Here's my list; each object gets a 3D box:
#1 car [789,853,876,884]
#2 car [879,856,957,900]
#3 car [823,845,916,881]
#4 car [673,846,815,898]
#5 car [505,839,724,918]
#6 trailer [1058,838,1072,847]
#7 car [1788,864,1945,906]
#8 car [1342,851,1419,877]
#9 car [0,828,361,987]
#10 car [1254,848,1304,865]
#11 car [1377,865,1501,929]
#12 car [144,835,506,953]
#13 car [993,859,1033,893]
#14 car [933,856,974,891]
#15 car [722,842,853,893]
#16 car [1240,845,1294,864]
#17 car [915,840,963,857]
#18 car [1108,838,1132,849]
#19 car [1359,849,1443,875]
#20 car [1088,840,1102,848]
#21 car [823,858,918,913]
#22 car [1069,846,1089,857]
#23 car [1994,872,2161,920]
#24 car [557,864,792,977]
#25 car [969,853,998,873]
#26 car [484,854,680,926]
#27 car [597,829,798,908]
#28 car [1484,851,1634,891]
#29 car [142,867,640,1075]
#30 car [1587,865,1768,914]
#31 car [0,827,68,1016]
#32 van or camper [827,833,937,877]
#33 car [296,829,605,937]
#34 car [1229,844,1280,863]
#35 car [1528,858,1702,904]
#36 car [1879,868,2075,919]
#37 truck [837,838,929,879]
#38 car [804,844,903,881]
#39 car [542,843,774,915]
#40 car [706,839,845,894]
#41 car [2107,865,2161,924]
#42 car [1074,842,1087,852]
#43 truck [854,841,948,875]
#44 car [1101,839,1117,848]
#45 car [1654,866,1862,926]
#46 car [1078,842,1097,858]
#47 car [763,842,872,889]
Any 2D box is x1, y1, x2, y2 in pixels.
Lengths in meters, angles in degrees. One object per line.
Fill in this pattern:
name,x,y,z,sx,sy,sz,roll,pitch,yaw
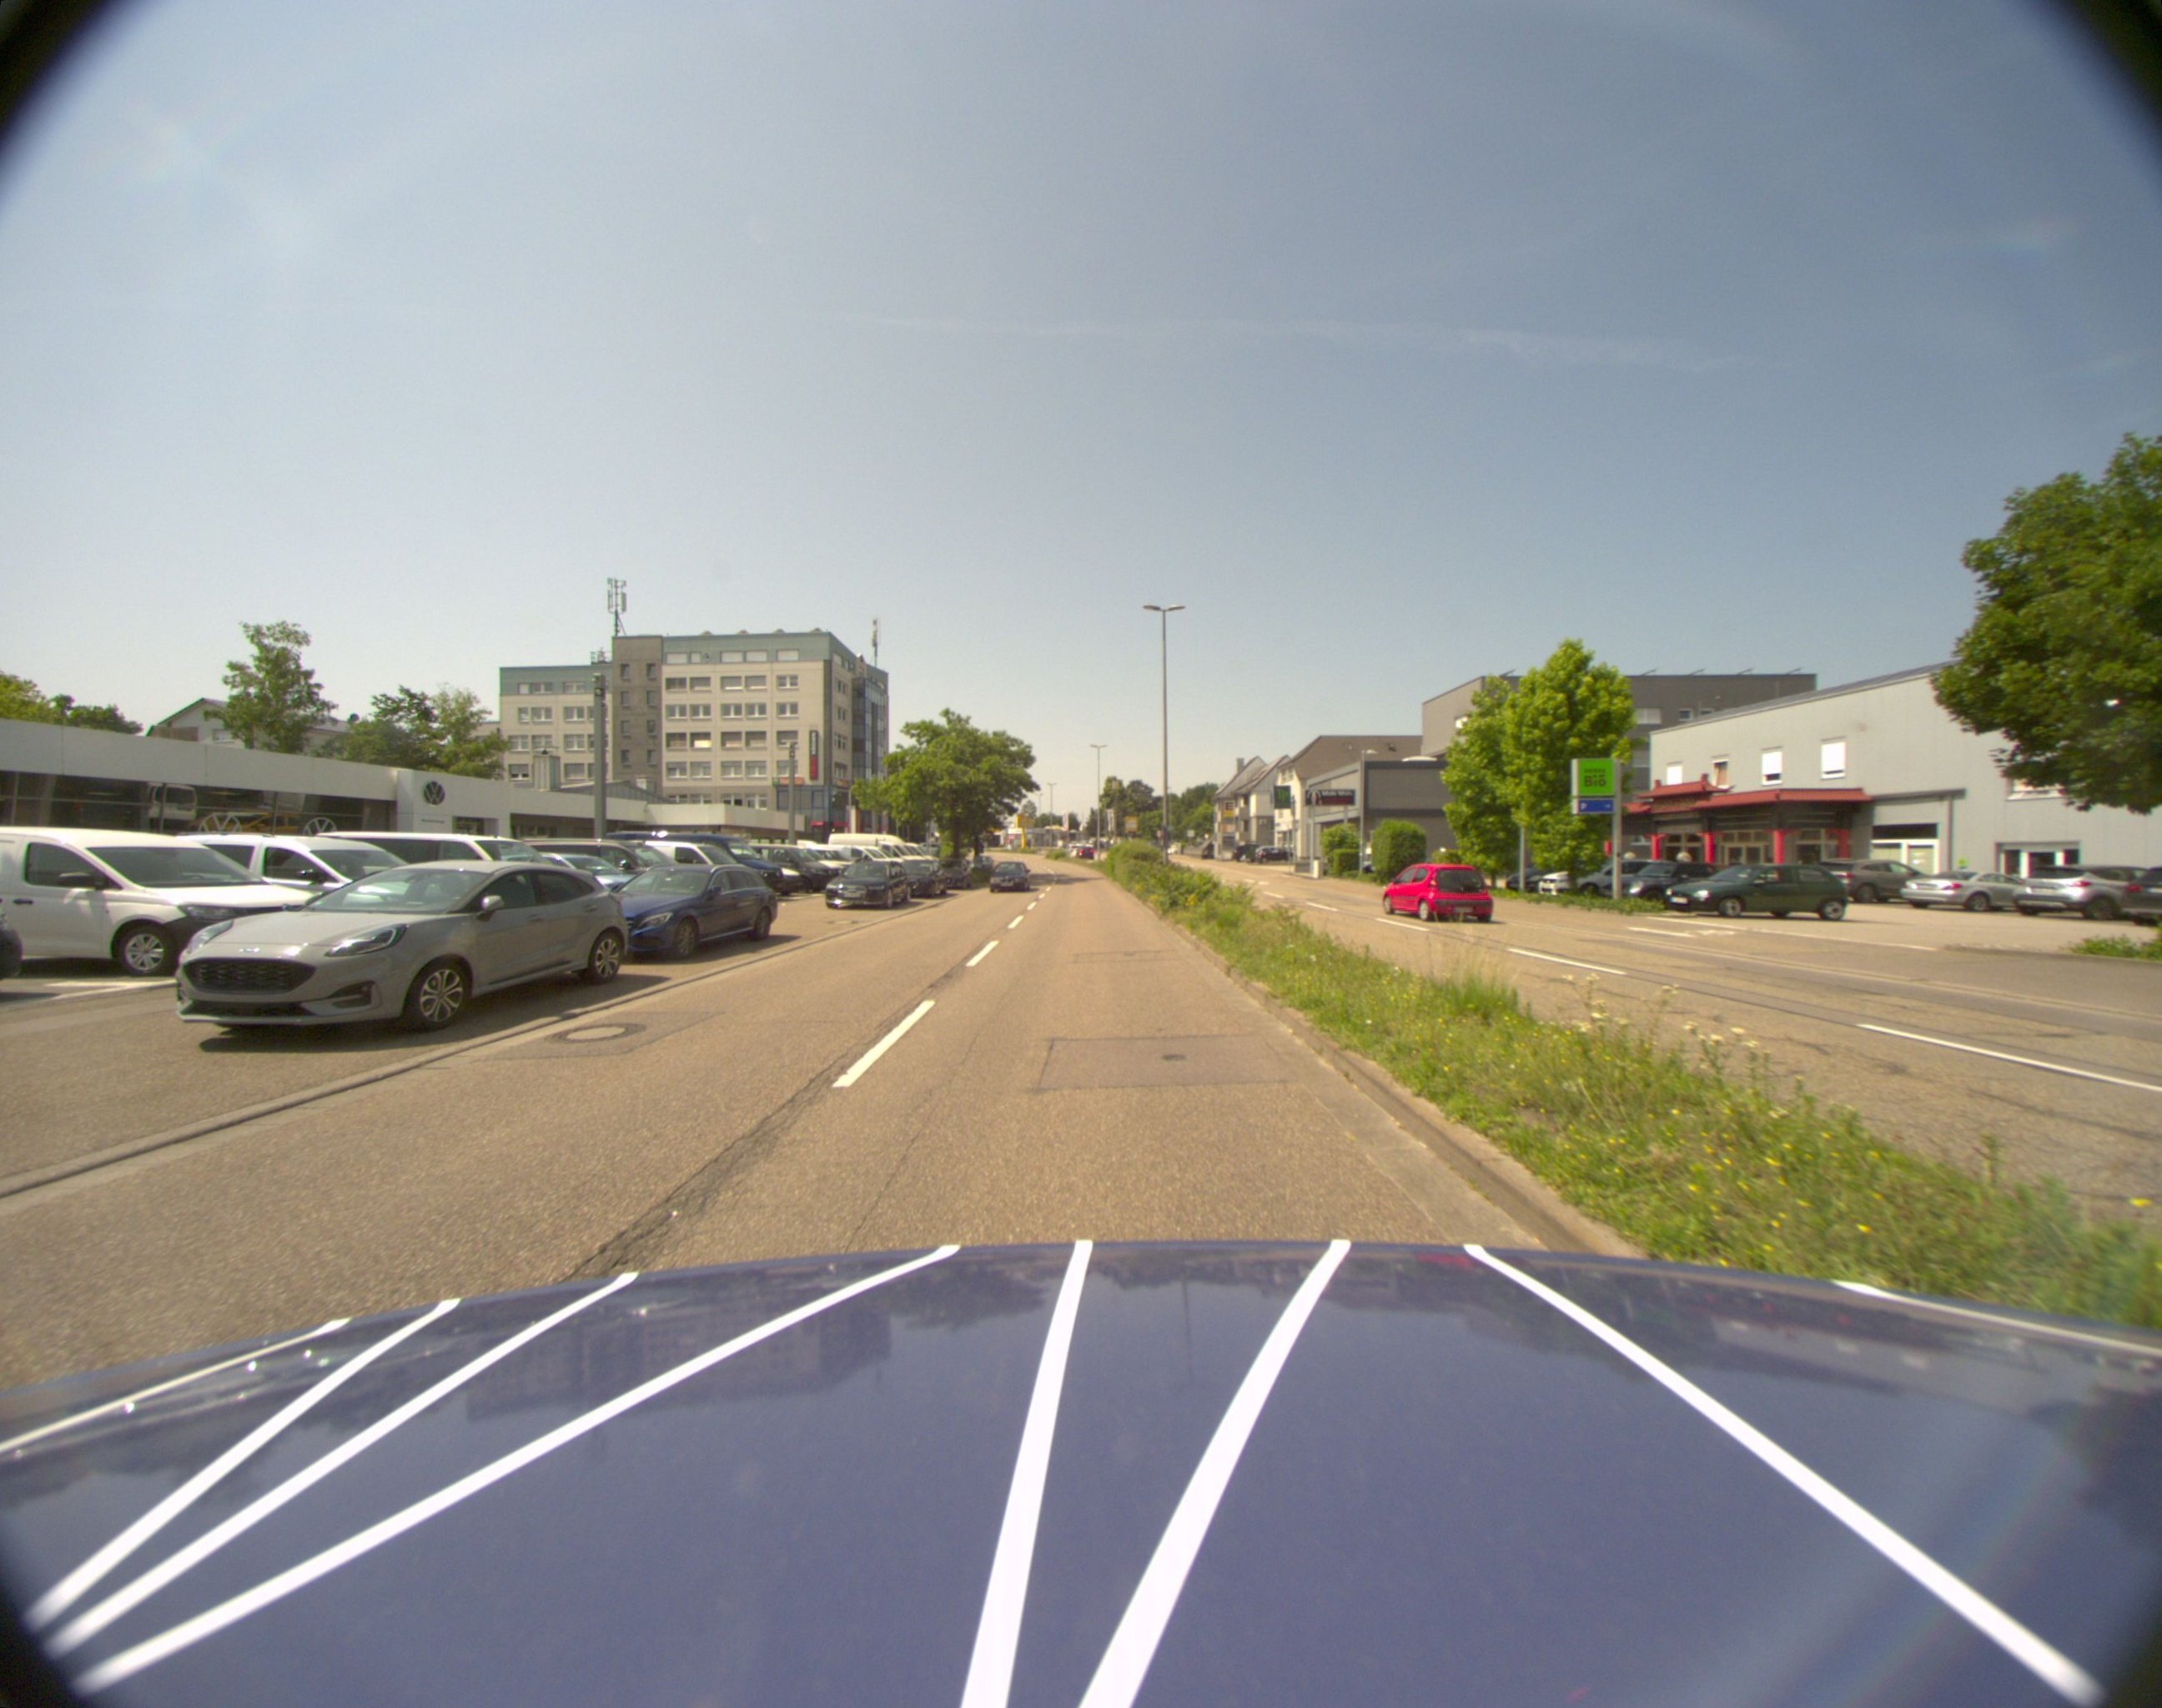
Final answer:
car,-13.154,0.765,40.369,4.036,1.462,1.913,3,0,-6
car,-6.476,0.908,30.834,1.966,1.521,5.160,2,0,0
car,-12.629,0.527,45.665,4.961,2.101,2.159,0,1,-1
car,-12.937,0.666,29.372,4.579,1.840,1.951,1,0,-1
car,-12.727,0.672,20.964,4.798,1.972,2.004,-1,-1,1
trailer,-3.332,-2.387,158.533,1.689,1.694,2.438,0,2,29
car,29.039,1.117,28.181,3.983,1.459,1.963,0,1,-5
car,17.775,0.568,45.172,3.999,1.451,1.574,0,2,-5
car,-12.647,0.614,9.936,4.568,1.878,1.856,0,2,-1
car,18.309,0.253,70.485,4.068,1.512,1.999,0,2,-3
car,9.157,1.036,19.737,1.635,1.416,3.450,0,1,1
car,-12.550,0.608,12.846,4.161,1.771,1.880,1,2,-1
car,-3.112,0.970,35.028,1.698,1.365,3.998,-2,1,-4
car,-6.340,0.913,37.362,1.688,1.428,4.431,0,2,-14
car,-13.137,0.581,34.252,5.077,2.085,2.040,2,1,0
car,17.908,0.050,73.134,4.620,1.488,1.751,-4,1,-8
car,-15.528,-0.630,83.099,4.746,1.704,1.995,-3,3,-25
car,7.551,-2.035,146.758,4.300,1.891,1.831,1,3,18
car,17.917,0.438,42.621,4.006,1.363,1.669,1,0,3
car,2.824,-2.050,151.338,1.712,1.424,3.967,1,3,20
car,-6.720,0.946,24.887,1.860,1.472,5.154,2,0,-3
car,-0.241,-0.352,100.530,1.869,1.423,4.739,-2,1,-9
car,29.442,1.186,21.957,3.848,1.278,1.860,0,1,0
car,-6.866,1.008,13.540,1.718,1.539,4.789,0,1,-2
car,-7.579,0.704,59.557,1.802,1.398,4.318,-2,1,-1
car,-11.971,0.843,18.354,3.638,1.561,1.717,-1,1,6
car,-13.339,0.459,26.680,5.856,2.510,2.204,-1,2,3
car,17.234,0.604,27.522,4.160,1.334,2.042,1,0,-2
car,-6.701,0.962,8.162,1.737,1.543,4.178,-1,0,-5
car,17.338,0.999,22.222,3.848,1.326,1.859,0,0,0
car,-12.936,0.652,7.069,4.424,1.871,1.909,0,0,0
van or camper,-13.336,0.032,51.301,6.814,2.881,2.275,0,1,0
car,-12.788,0.568,15.671,4.652,2.002,1.960,1,0,-2
car,17.334,-0.047,76.027,4.617,1.618,1.853,-4,1,0
car,17.257,0.850,24.712,4.234,1.341,1.980,1,0,0
car,29.144,1.255,24.825,3.985,1.459,2.072,2,0,-2
truck,-12.567,0.269,48.465,5.260,2.422,2.111,1,1,2
car,-12.820,0.470,42.962,4.925,1.960,2.141,1,1,0
car,-13.108,0.725,23.858,5.909,2.002,2.258,-2,1,0
car,-12.690,0.507,31.802,4.912,2.102,2.129,1,0,-1
car,28.539,1.007,19.019,3.851,1.452,1.764,0,1,-8
car,-0.135,-1.090,121.909,1.786,1.619,4.337,0,1,-4
truck,-13.172,0.294,55.854,6.260,2.323,2.369,1,0,1
car,5.402,-2.092,148.945,1.847,1.714,4.006,-1,3,-19
car,17.196,1.037,19.436,3.667,1.356,1.780,1,0,1
car,0.757,-0.528,93.438,1.914,1.741,4.756,-2,2,-5
car,-12.874,0.528,37.318,4.520,2.002,2.197,2,2,1
